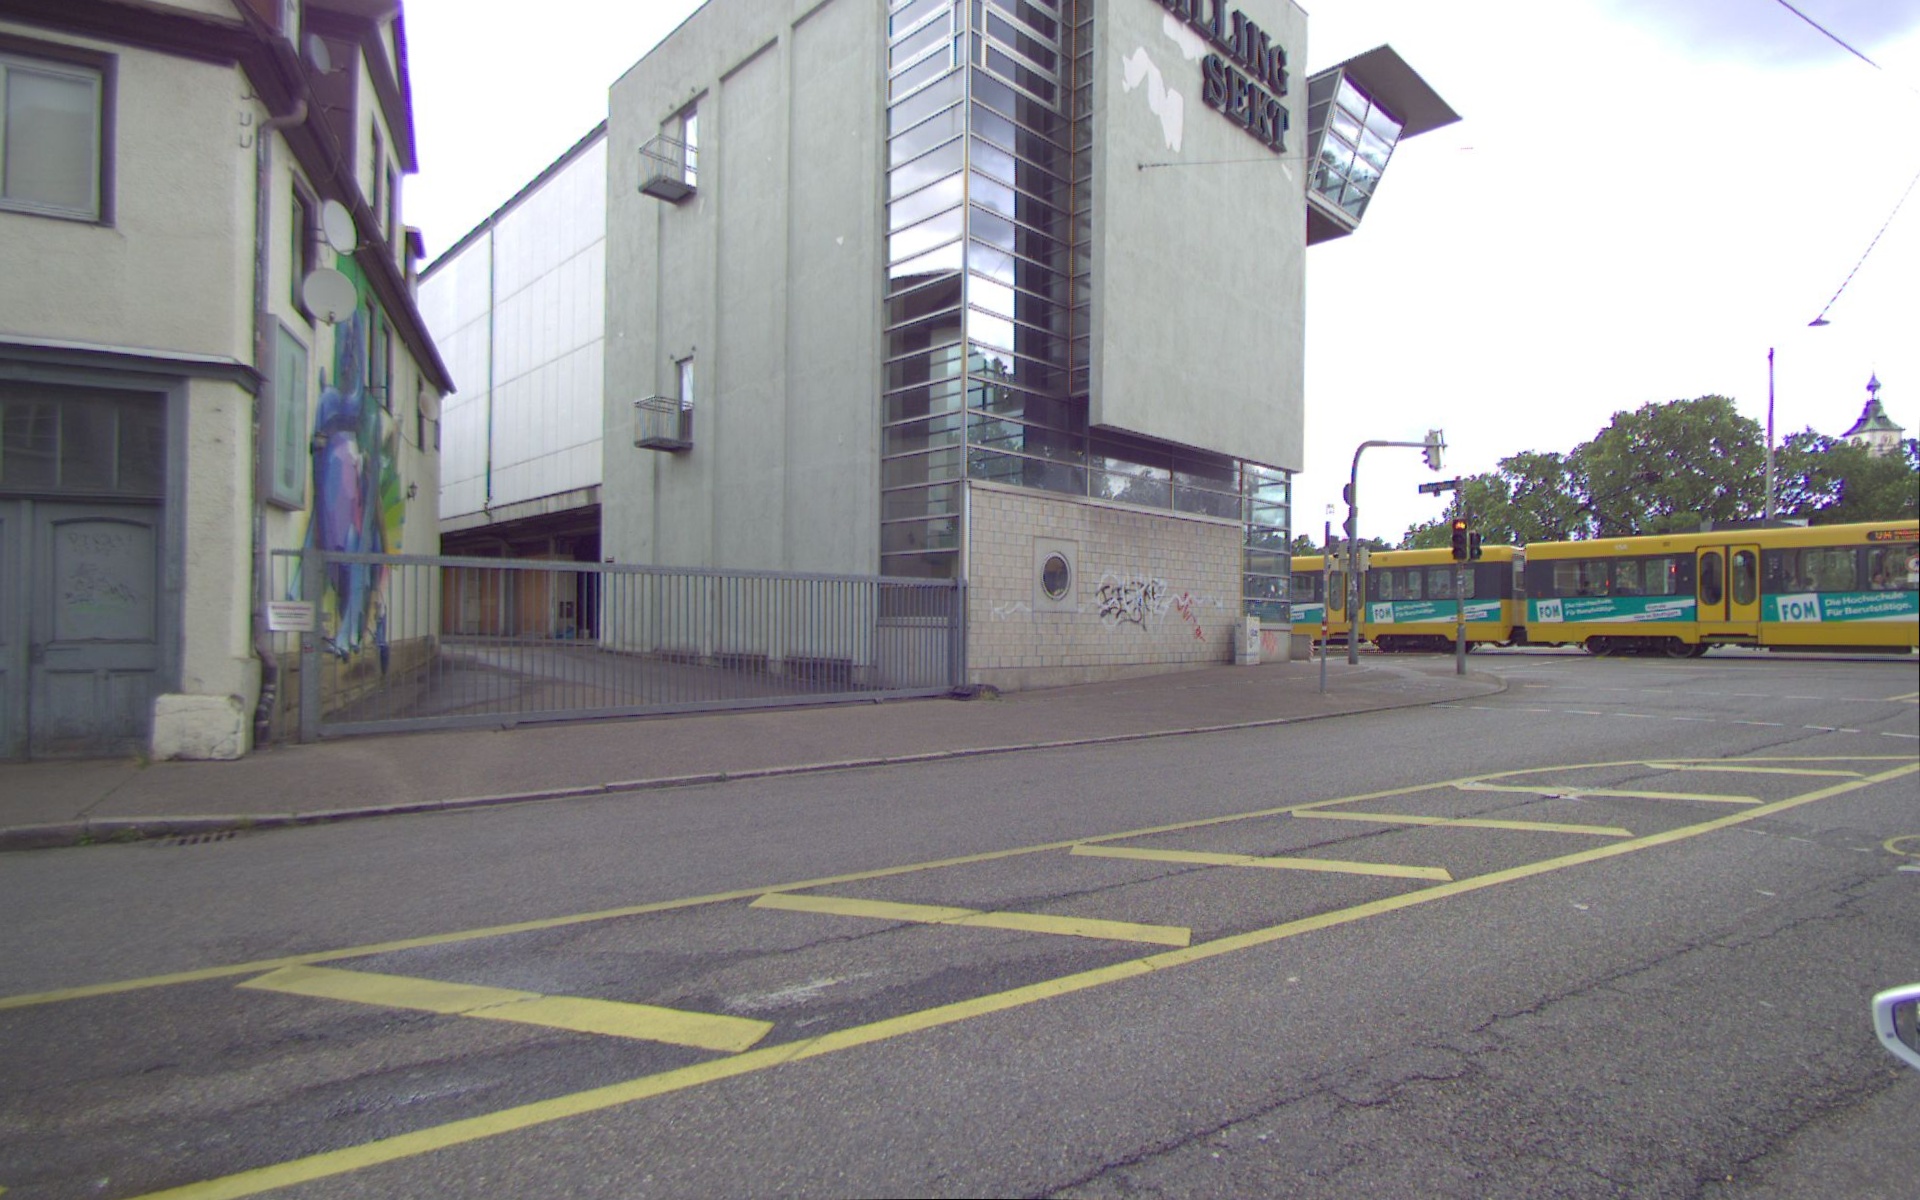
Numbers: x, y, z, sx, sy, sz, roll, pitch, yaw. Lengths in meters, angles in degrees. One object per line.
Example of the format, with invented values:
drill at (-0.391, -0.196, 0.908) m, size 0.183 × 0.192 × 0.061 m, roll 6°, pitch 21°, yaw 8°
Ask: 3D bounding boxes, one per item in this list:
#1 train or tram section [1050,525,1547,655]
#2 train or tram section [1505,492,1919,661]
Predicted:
train or tram section at (11.842, -0.021, 39.357) m, size 3.286 × 4.056 × 19.040 m, roll -2°, pitch -1°, yaw -44°
train or tram section at (24.156, -0.587, 25.208) m, size 3.237 × 4.056 × 18.625 m, roll -2°, pitch -1°, yaw -38°
